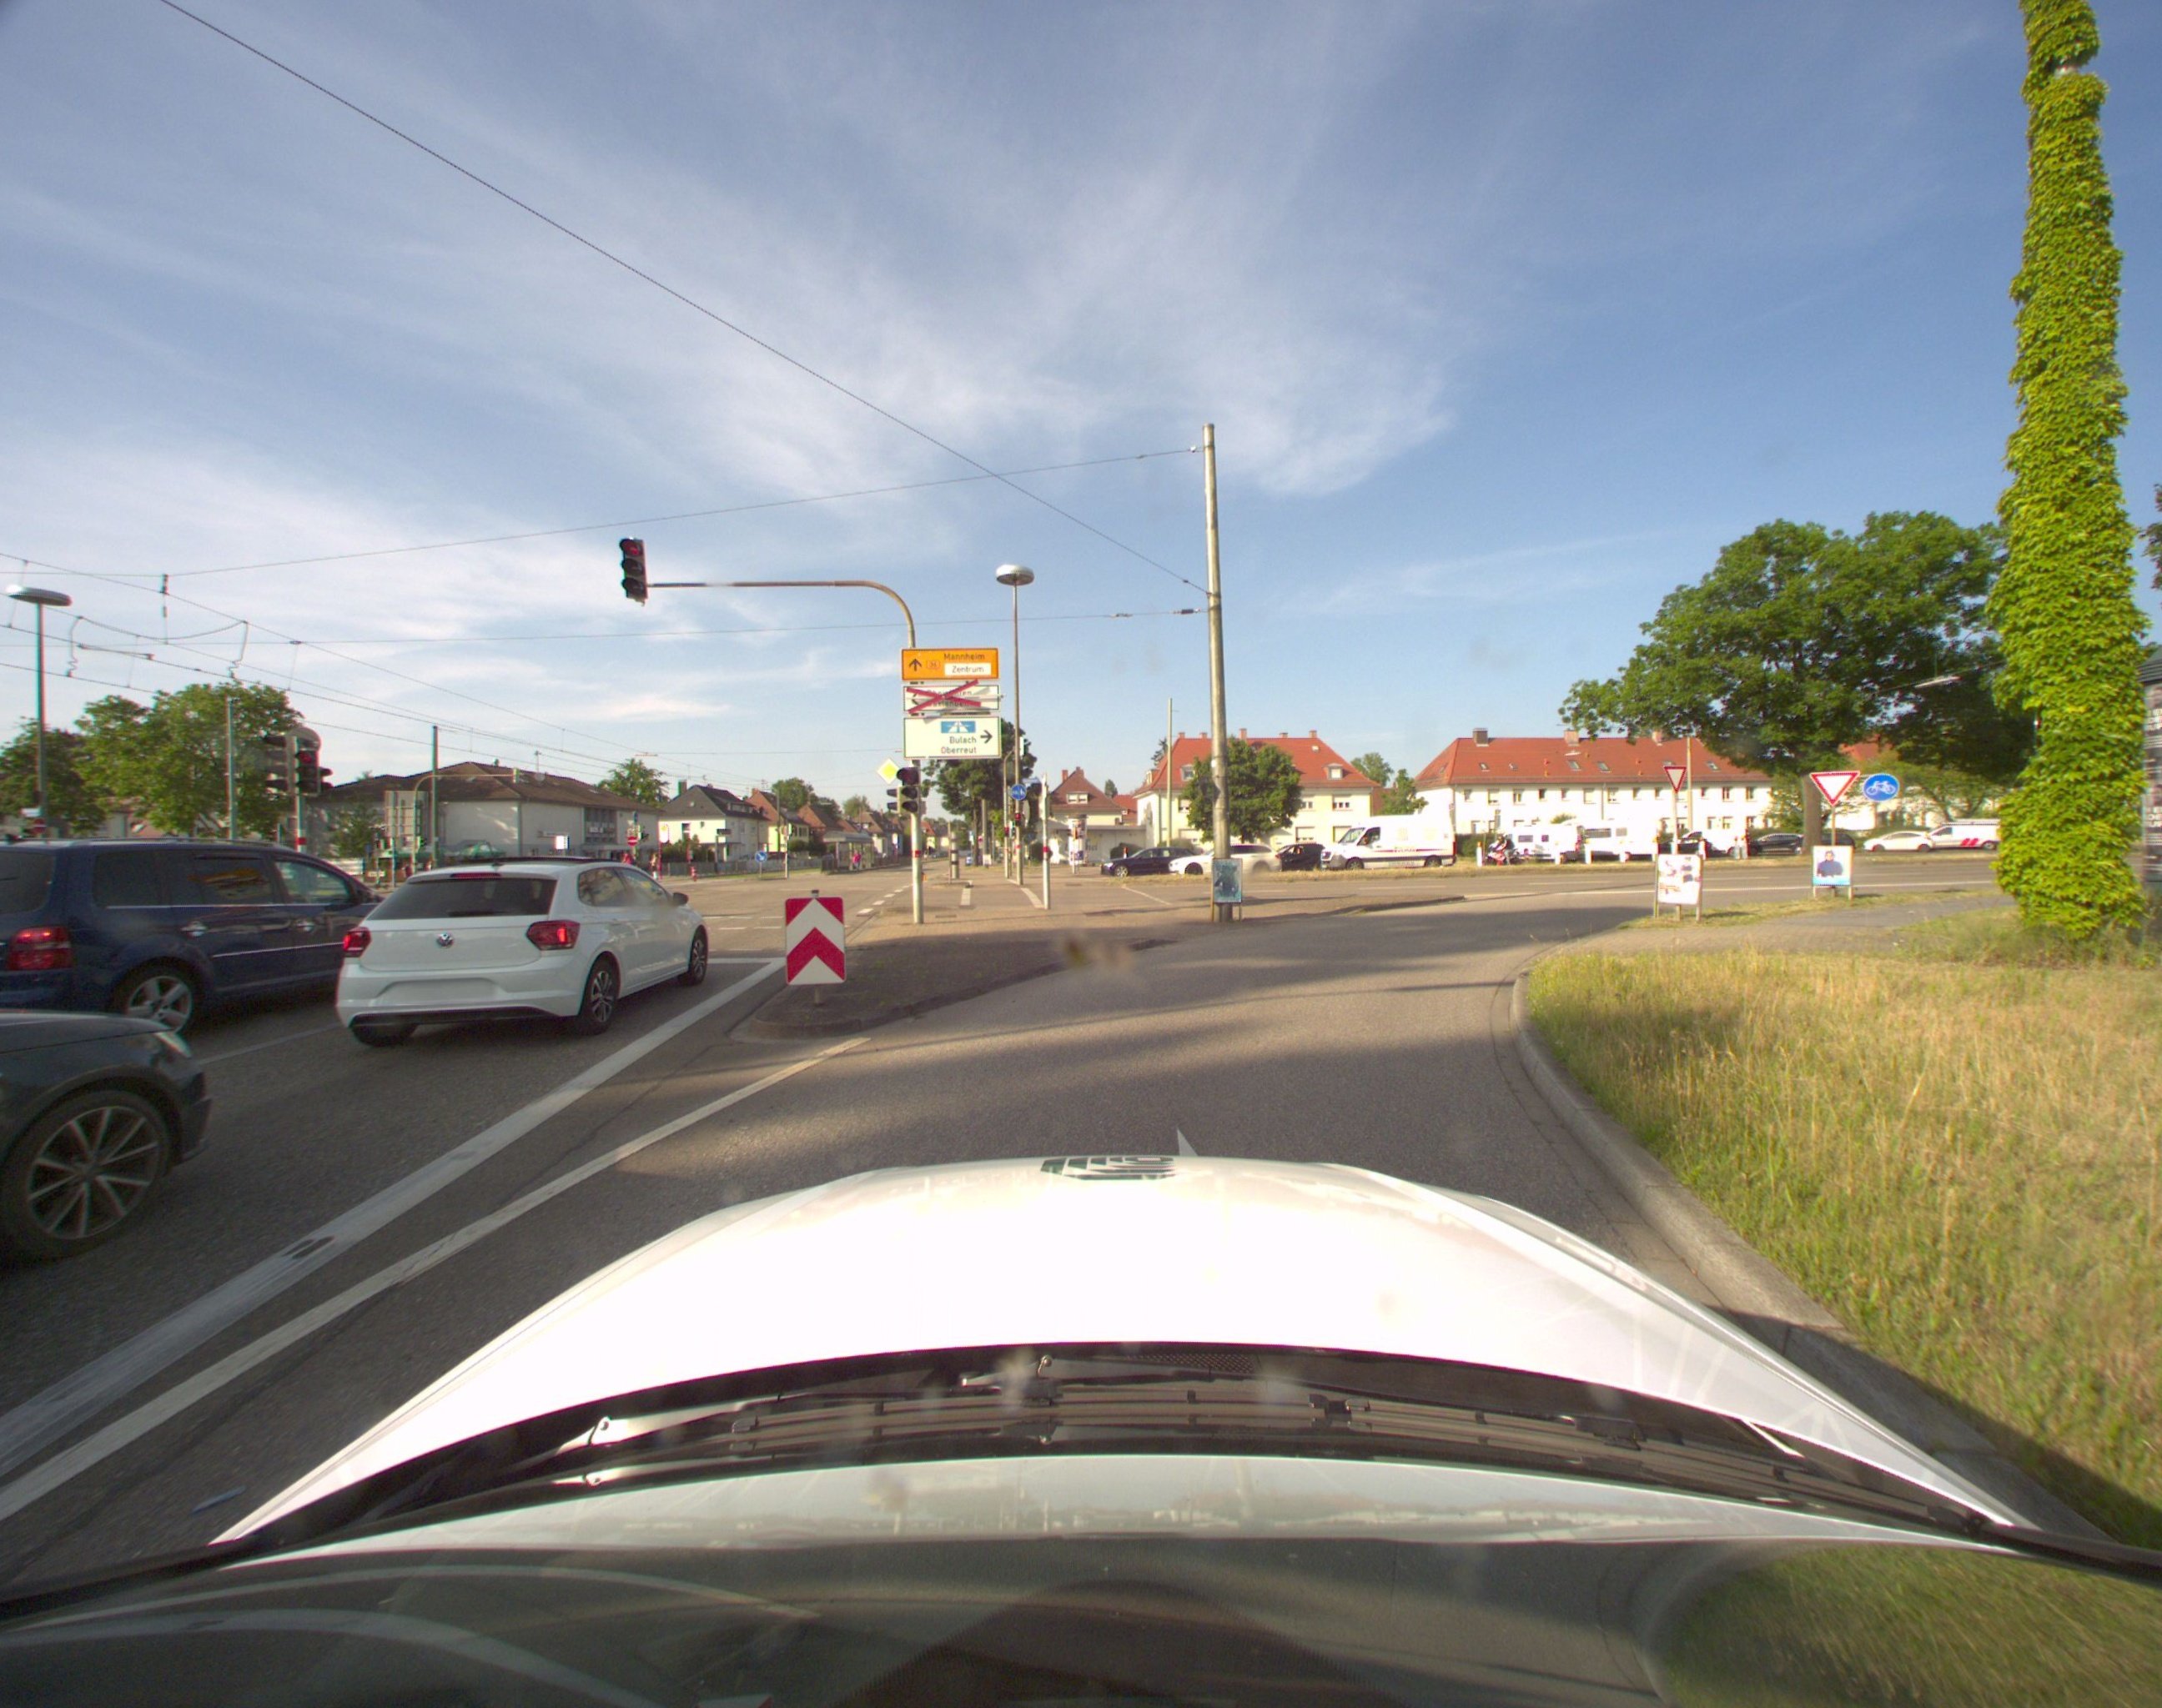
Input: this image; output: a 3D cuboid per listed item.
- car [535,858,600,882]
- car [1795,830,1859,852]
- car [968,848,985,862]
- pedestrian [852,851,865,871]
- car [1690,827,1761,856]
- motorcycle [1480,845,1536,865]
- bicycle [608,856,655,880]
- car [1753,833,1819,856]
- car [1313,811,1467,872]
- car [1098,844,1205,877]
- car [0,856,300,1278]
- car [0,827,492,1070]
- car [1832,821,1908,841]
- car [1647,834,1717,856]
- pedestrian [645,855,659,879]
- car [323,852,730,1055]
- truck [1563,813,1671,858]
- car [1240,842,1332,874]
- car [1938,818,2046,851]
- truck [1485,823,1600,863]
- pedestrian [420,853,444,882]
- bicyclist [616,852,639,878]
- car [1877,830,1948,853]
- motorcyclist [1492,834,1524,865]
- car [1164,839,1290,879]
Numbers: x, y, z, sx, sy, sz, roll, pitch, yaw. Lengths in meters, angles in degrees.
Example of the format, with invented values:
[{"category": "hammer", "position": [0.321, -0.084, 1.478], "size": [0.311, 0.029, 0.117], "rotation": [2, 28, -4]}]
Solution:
[{"category": "car", "position": [-35.368, 1.062, 56.213], "size": [1.992, 1.508, 4.596], "rotation": [-1, 0, -8]}, {"category": "car", "position": [54.840, -0.914, 59.963], "size": [3.389, 1.513, 1.908], "rotation": [-1, 0, 41]}, {"category": "car", "position": [-10.440, 0.112, 81.589], "size": [1.673, 1.398, 3.991], "rotation": [0, -1, -7]}, {"category": "pedestrian", "position": [-16.704, 0.497, 61.133], "size": [0.752, 1.499, 0.825], "rotation": [0, -1, -5]}, {"category": "car", "position": [45.631, -0.883, 57.771], "size": [3.858, 1.920, 1.908], "rotation": [-1, 0, 37]}, {"category": "motorcycle", "position": [19.051, 0.050, 36.354], "size": [2.270, 0.866, 0.689], "rotation": [-1, 0, -9]}, {"category": "bicycle", "position": [-25.383, 0.778, 46.022], "size": [2.078, 1.348, 1.102], "rotation": [0, -1, -17]}, {"category": "car", "position": [49.635, -0.686, 57.371], "size": [3.455, 1.513, 1.908], "rotation": [-1, 0, 41]}, {"category": "car", "position": [13.772, -0.560, 36.432], "size": [6.203, 2.583, 1.995], "rotation": [-1, 0, -7]}, {"category": "car", "position": [3.295, 0.308, 38.598], "size": [4.819, 1.411, 1.712], "rotation": [-1, 0, -7]}, {"category": "car", "position": [-4.347, 0.741, 1.900], "size": [1.640, 1.397, 3.818], "rotation": [-1, 0, -7]}, {"category": "car", "position": [-8.024, 0.641, 7.869], "size": [1.504, 1.651, 4.735], "rotation": [-1, 0, -5]}, {"category": "car", "position": [74.597, -2.163, 77.093], "size": [1.992, 1.719, 4.966], "rotation": [-1, 0, -8]}, {"category": "car", "position": [42.320, -0.615, 57.423], "size": [3.859, 1.456, 1.908], "rotation": [-1, 0, 34]}, {"category": "pedestrian", "position": [-25.732, 0.775, 48.820], "size": [0.578, 1.431, 0.545], "rotation": [0, -1, -10]}, {"category": "car", "position": [-4.864, 0.720, 7.926], "size": [1.655, 1.443, 4.003], "rotation": [0, 0, -8]}, {"category": "truck", "position": [36.524, -1.186, 55.548], "size": [6.000, 2.854, 1.908], "rotation": [-1, 0, 37]}, {"category": "car", "position": [9.889, 0.182, 39.373], "size": [3.983, 1.453, 1.712], "rotation": [-1, 0, -7]}, {"category": "car", "position": [66.412, -1.402, 59.502], "size": [4.915, 2.232, 2.013], "rotation": [-1, 0, 37]}, {"category": "truck", "position": [30.568, -0.706, 54.163], "size": [2.290, 2.524, 6.281], "rotation": [-1, 1, -42]}, {"category": "pedestrian", "position": [-37.198, 0.773, 46.662], "size": [0.747, 1.599, 0.810], "rotation": [-1, 0, -8]}, {"category": "bicyclist", "position": [-25.573, 0.622, 45.936], "size": [0.886, 1.431, 1.130], "rotation": [0, -1, -16]}, {"category": "car", "position": [59.894, -0.890, 58.715], "size": [3.389, 1.513, 1.908], "rotation": [-1, 0, 41]}, {"category": "motorcyclist", "position": [19.042, -0.200, 36.348], "size": [1.065, 1.352, 0.678], "rotation": [-1, 0, -8]}, {"category": "car", "position": [6.287, 0.213, 35.358], "size": [5.089, 1.563, 1.836], "rotation": [-1, 0, -7]}]
